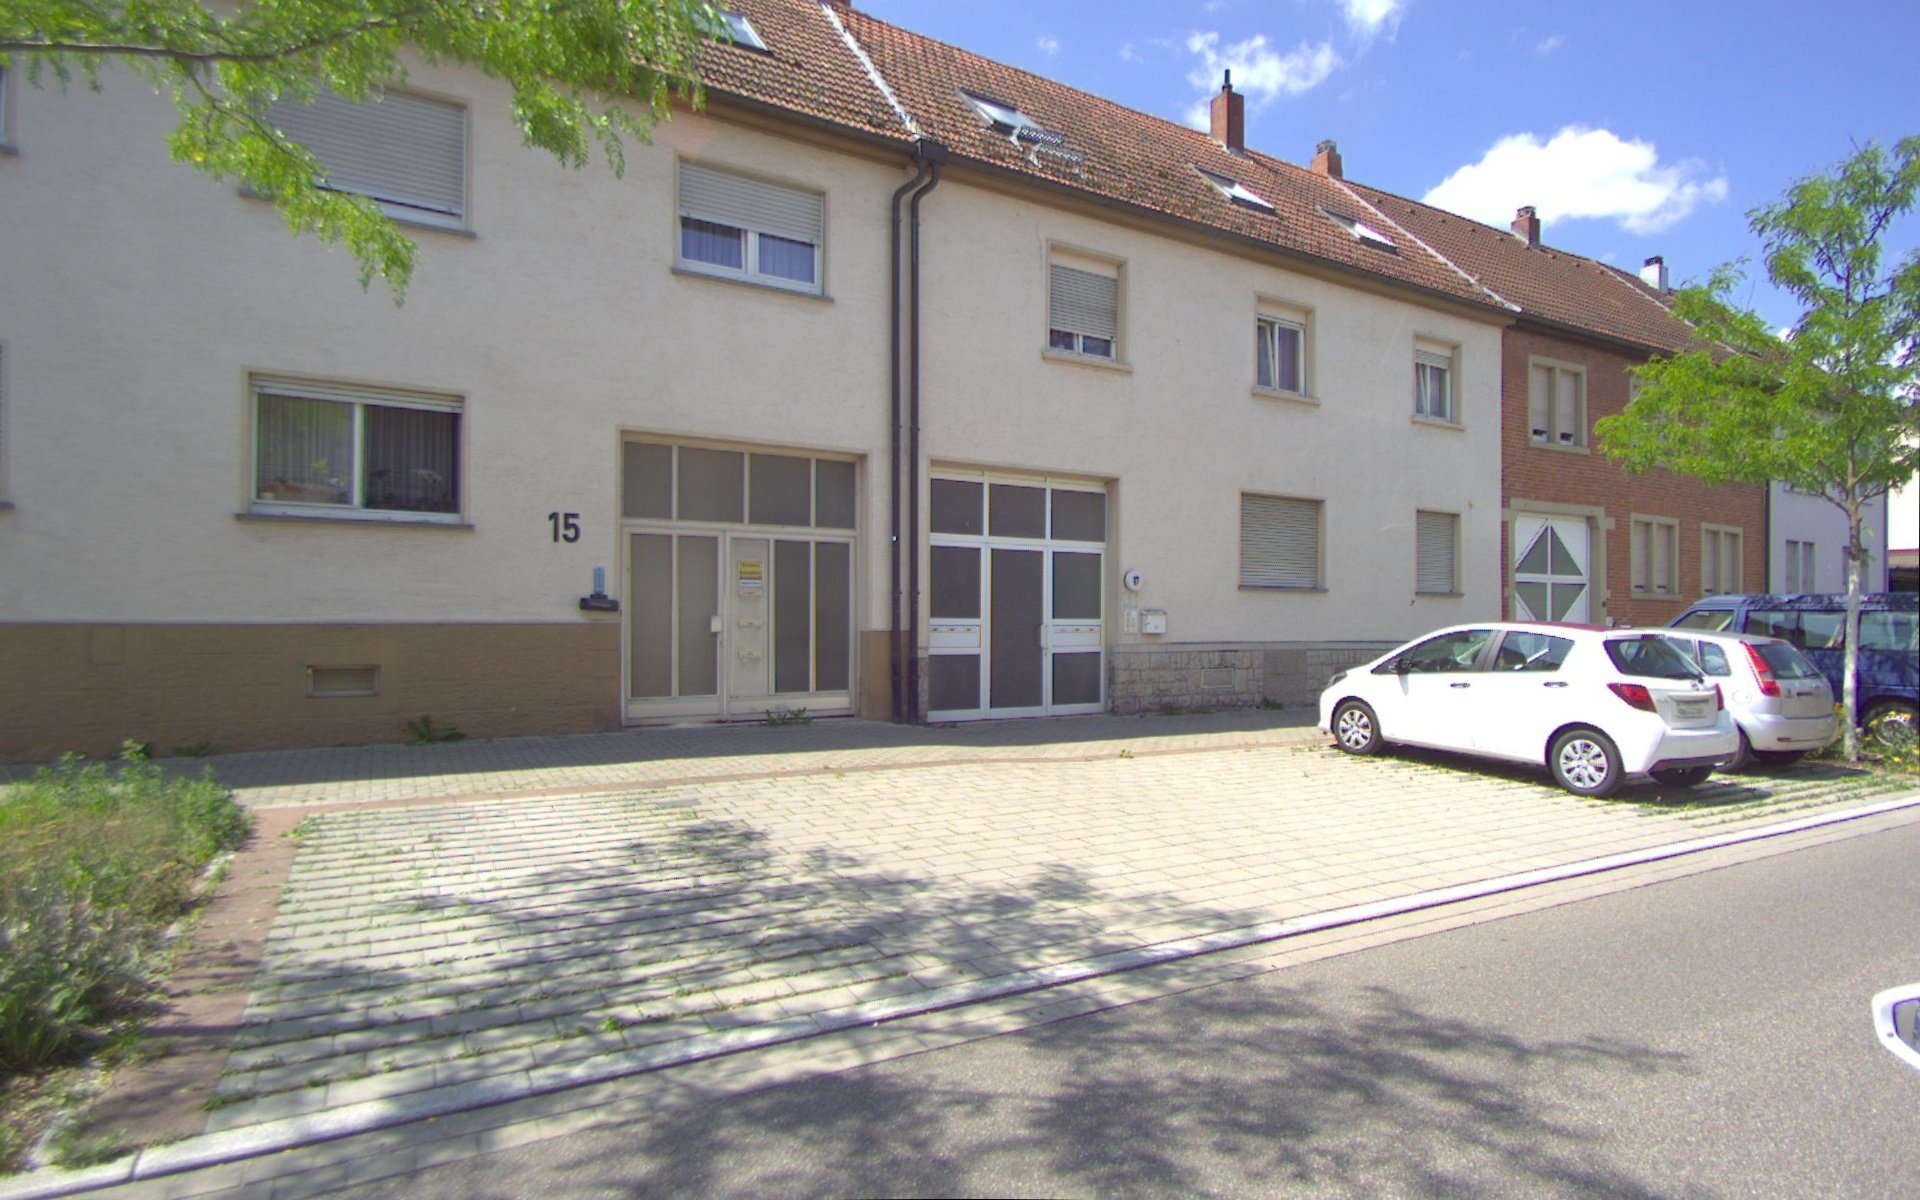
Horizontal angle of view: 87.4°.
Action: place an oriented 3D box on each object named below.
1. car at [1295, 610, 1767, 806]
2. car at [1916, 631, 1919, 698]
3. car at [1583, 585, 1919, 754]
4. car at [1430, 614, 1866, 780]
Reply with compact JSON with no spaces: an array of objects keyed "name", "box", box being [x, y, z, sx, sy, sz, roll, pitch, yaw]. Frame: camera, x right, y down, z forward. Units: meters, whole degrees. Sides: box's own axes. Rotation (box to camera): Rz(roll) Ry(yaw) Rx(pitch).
[{"name":"car","box":[5.593,0.925,10.385,1.750,1.508,3.901,2,0,-27]},{"name":"car","box":[22.363,1.437,19.984,1.774,1.444,4.503,2,0,-29]},{"name":"car","box":[11.598,0.834,14.006,1.928,2.023,4.595,2,0,-27]},{"name":"car","box":[7.880,0.994,11.926,1.750,1.508,3.901,2,0,-27]}]
